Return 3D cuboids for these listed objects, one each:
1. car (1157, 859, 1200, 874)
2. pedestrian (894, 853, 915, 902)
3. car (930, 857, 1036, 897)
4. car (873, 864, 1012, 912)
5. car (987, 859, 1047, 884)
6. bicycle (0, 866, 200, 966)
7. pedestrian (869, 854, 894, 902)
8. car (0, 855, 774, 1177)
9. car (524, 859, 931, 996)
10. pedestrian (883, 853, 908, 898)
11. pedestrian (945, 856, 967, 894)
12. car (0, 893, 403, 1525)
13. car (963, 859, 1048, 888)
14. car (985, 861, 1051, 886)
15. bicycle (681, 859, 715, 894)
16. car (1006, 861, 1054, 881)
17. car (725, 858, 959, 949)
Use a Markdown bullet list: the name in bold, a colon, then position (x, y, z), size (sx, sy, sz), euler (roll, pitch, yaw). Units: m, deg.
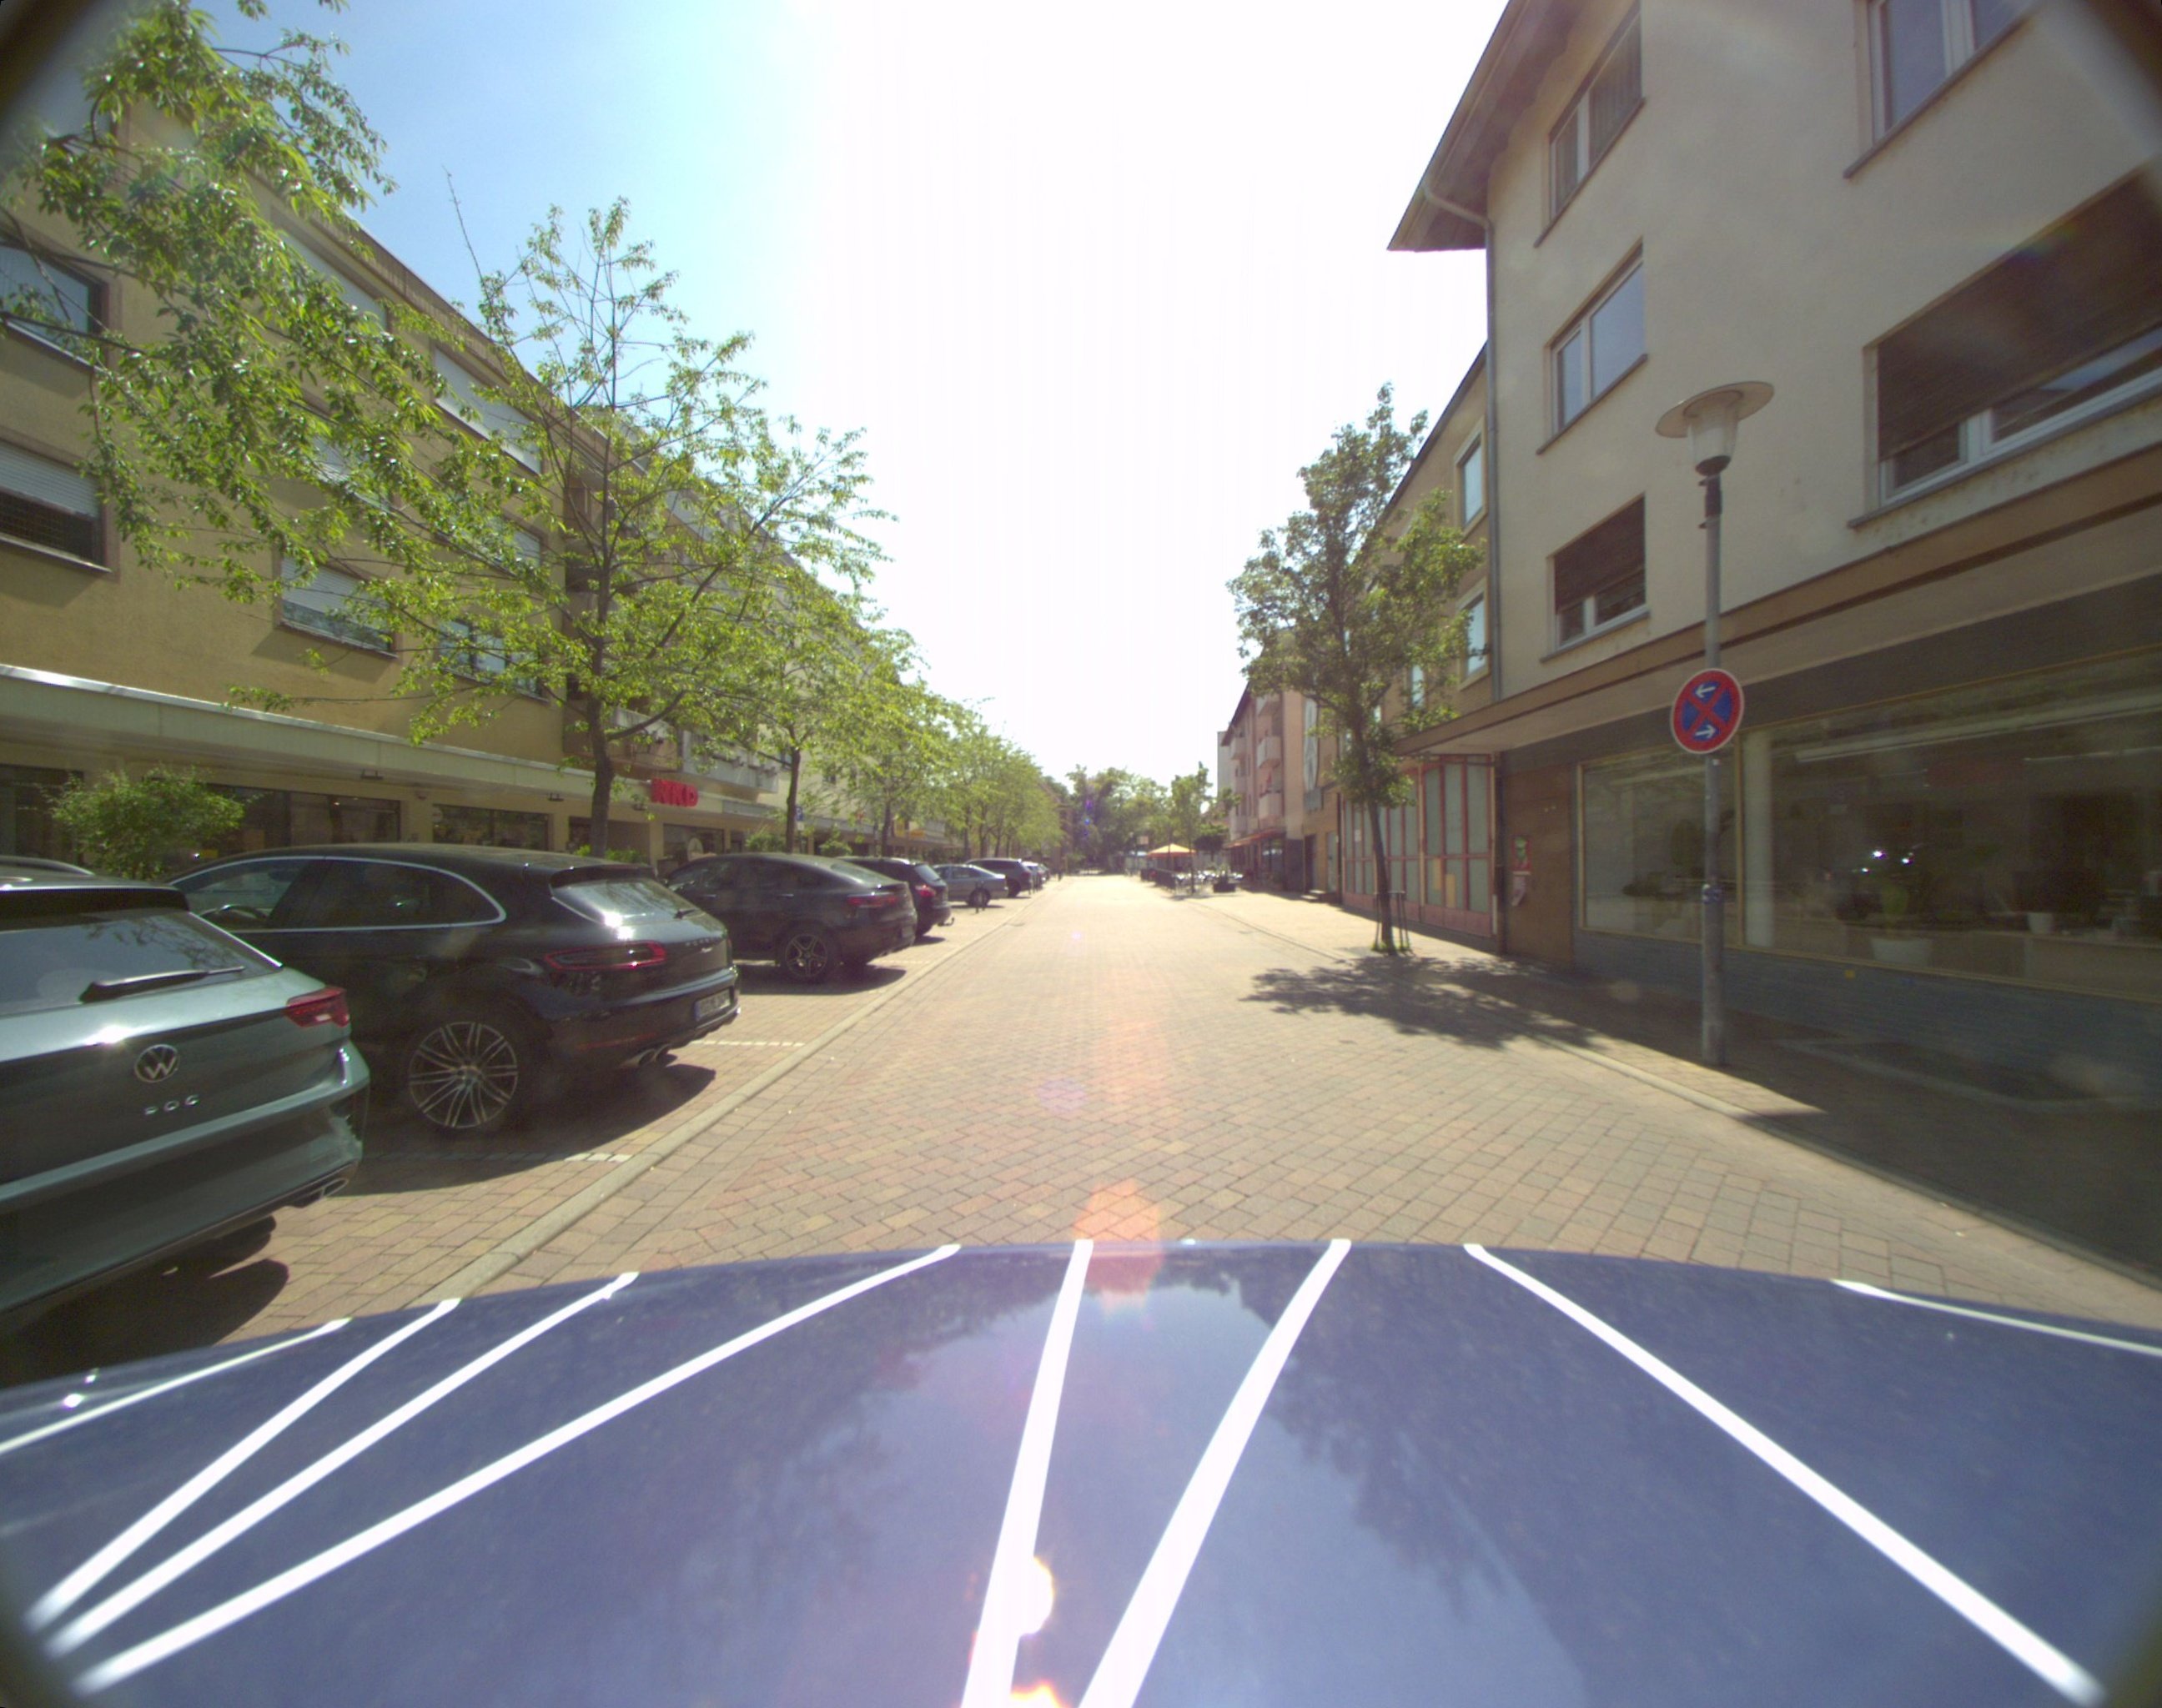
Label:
- **car**: position (10.015, 1.312, 78.386), size (4.335, 1.459, 1.778), euler (-1, 0, 7)
- **pedestrian**: position (-6.637, 0.876, 28.584), size (0.607, 1.785, 0.626), euler (-1, 0, -27)
- **car**: position (-4.057, 0.956, 31.961), size (4.254, 1.608, 1.757), euler (1, 0, -1)
- **car**: position (-4.726, 1.104, 25.824), size (4.391, 1.455, 1.887), euler (0, 0, -19)
- **car**: position (-4.048, 1.119, 48.451), size (3.652, 1.508, 1.633), euler (1, 0, 1)
- **bicycle**: position (-12.502, 0.735, 9.668), size (0.413, 1.117, 1.774), euler (-2, 0, 3)
- **pedestrian**: position (-7.389, 0.879, 28.144), size (0.633, 1.762, 0.685), euler (-1, 0, -37)
- **car**: position (-4.559, 0.852, 4.961), size (4.290, 1.671, 2.000), euler (0, 0, -1)
- **car**: position (-4.465, 0.881, 10.059), size (4.518, 1.579, 1.851), euler (1, 0, 3)
- **pedestrian**: position (-7.261, 0.840, 29.773), size (0.614, 1.720, 0.649), euler (-1, 1, 35)
- **pedestrian**: position (-5.950, 0.987, 36.134), size (0.759, 1.770, 0.871), euler (-1, 0, 8)
- **car**: position (-4.716, 0.909, 2.136), size (3.954, 1.525, 1.824), euler (1, 0, 0)
- **car**: position (-4.248, 1.106, 43.345), size (4.585, 1.534, 1.807), euler (1, 0, 1)
- **car**: position (-3.771, 1.171, 45.887), size (3.800, 1.423, 1.614), euler (1, 0, 1)
- **bicycle**: position (-12.115, 0.691, 24.062), size (0.361, 1.061, 1.313), euler (-2, 0, 1)
- **car**: position (-3.752, 1.245, 55.995), size (3.401, 1.382, 1.460), euler (1, 0, 1)
- **car**: position (-4.569, 0.924, 14.937), size (4.037, 1.602, 1.681), euler (1, 0, 0)
